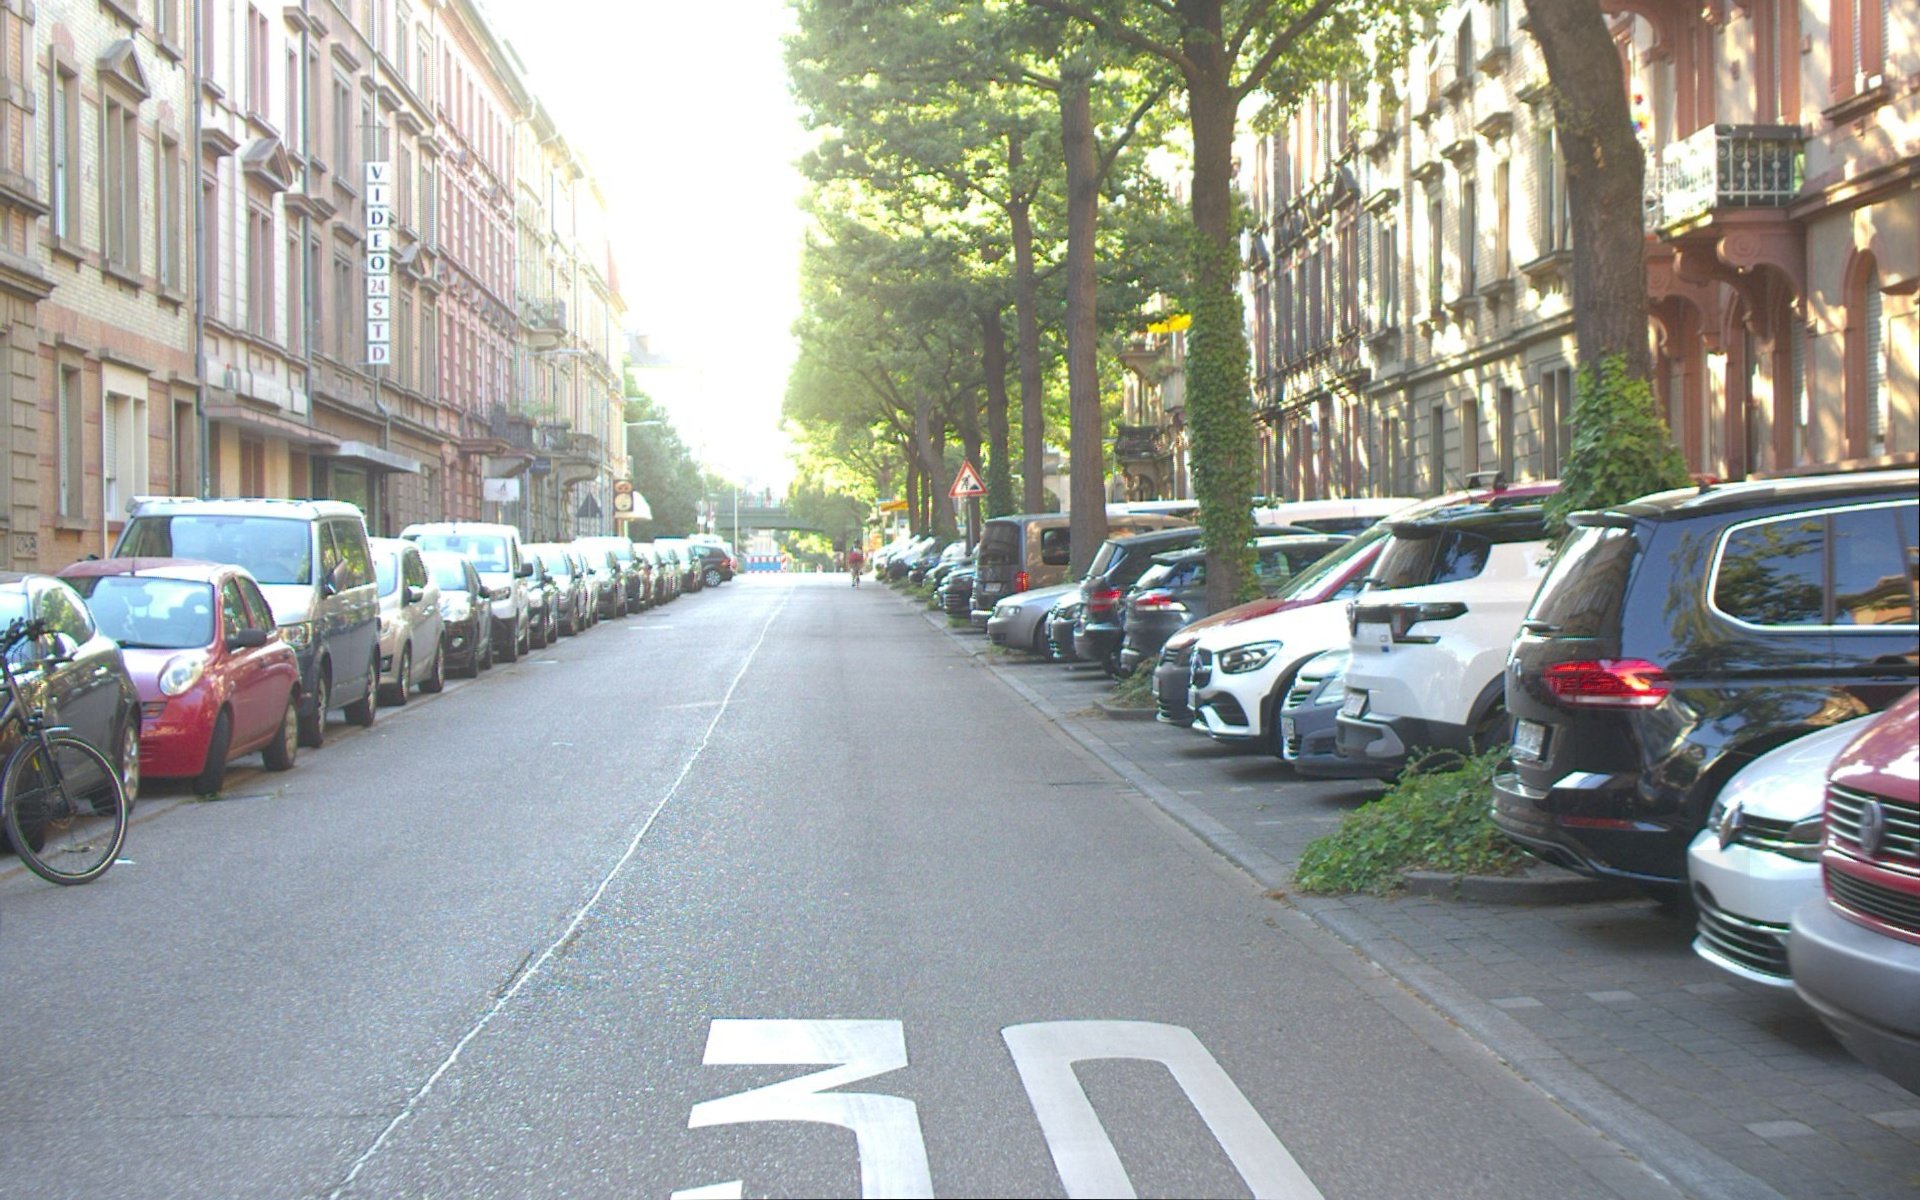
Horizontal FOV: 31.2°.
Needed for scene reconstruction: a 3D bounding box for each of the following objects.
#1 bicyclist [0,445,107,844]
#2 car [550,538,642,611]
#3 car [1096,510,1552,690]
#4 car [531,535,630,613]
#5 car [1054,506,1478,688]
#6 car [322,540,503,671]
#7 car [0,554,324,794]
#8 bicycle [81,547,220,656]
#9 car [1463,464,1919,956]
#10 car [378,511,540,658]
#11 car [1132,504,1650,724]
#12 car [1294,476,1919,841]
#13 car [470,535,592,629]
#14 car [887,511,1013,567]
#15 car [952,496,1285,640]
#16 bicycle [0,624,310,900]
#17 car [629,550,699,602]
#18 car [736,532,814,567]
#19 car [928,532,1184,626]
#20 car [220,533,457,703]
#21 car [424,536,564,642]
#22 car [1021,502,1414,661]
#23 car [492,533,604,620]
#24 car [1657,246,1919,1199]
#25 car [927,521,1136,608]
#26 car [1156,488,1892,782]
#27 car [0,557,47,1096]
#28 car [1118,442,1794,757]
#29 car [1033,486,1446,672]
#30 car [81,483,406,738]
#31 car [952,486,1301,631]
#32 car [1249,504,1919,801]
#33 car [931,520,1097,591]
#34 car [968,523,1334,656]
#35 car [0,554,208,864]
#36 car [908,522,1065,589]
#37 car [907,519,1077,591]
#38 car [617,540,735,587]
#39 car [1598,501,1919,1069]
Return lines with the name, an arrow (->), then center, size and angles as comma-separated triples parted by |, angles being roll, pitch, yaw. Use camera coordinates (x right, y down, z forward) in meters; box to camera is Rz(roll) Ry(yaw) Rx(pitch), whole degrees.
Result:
bicyclist -> -4.716, 0.206, 15.716 | 1.204, 1.783, 0.998 | -3, 2, -42
car -> -7.747, -0.565, 73.367 | 1.758, 1.468, 4.060 | -1, 1, -4
car -> 3.385, -0.011, 32.453 | 4.010, 1.462, 1.734 | -3, 1, -2
car -> -7.540, -0.545, 68.605 | 1.758, 1.468, 4.060 | -1, 1, -4
car -> 3.053, -0.040, 34.848 | 4.010, 1.601, 1.734 | -3, 1, -2
car -> -6.537, 0.030, 41.383 | 1.758, 1.462, 4.001 | 1, 1, -4
car -> -5.477, 0.440, 23.461 | 1.592, 1.470, 3.699 | 1, 1, 0
bicycle -> -10.335, -0.010, 44.051 | 1.041, 1.314, 4.001 | 0, 1, -3
car -> 4.106, 0.296, 12.654 | 4.186, 1.622, 1.837 | -3, 1, 1
car -> -6.701, -0.247, 46.344 | 1.758, 1.835, 4.530 | -1, 1, -4
car -> 3.386, 0.076, 27.388 | 3.657, 1.450, 1.851 | -4, 2, -8
car -> 3.869, 0.240, 17.502 | 4.010, 1.622, 1.805 | -3, 1, -4
car -> -7.140, -0.322, 57.491 | 1.758, 1.468, 4.060 | -1, 1, -4
car -> -0.320, -1.940, 109.331 | 3.850, 1.568, 1.718 | -3, 1, -3
car -> 2.224, -0.462, 48.373 | 4.220, 1.788, 1.835 | -3, 1, -21
bicycle -> -4.545, 0.761, 15.844 | 2.915, 1.154, 0.998 | -3, 2, -42
car -> -9.110, -0.738, 105.990 | 1.993, 1.481, 4.000 | -1, -1, -3
car -> -9.943, -2.724, 185.205 | 3.988, 1.853, 1.751 | 0, 1, 6
car -> 1.507, -0.349, 54.952 | 3.849, 1.289, 1.718 | -3, 1, -5
car -> -6.246, 0.132, 34.961 | 1.753, 1.603, 4.384 | 1, 1, -2
car -> -6.918, -0.200, 51.394 | 1.758, 1.468, 4.060 | -1, 1, -4
car -> 2.989, -0.236, 40.381 | 4.220, 1.605, 1.835 | -3, 1, -9
car -> -7.436, -0.453, 62.352 | 1.758, 1.468, 4.060 | -1, 1, -4
car -> 4.148, 0.210, 7.620 | 4.674, 2.026, 1.879 | -3, 1, -5
car -> 1.373, -0.702, 67.285 | 3.849, 1.474, 1.718 | -3, 1, -5
car -> 3.575, 0.184, 22.320 | 4.343, 1.551, 1.850 | -4, 2, -3
car -> -3.596, 0.687, 7.998 | 1.758, 1.496, 4.060 | -2, 1, 1
car -> 3.522, -0.041, 24.880 | 4.443, 1.917, 1.850 | -4, 2, -4
car -> 3.019, -0.246, 37.675 | 4.220, 1.770, 1.835 | -3, 1, -3
car -> -5.925, 0.033, 29.038 | 1.832, 1.936, 5.261 | 1, 1, -2
car -> 2.485, -0.642, 52.118 | 5.056, 1.918, 1.835 | -3, 1, -2
car -> 3.829, 0.266, 19.955 | 4.010, 1.429, 1.795 | -4, 1, -2
car -> 1.355, -1.128, 86.992 | 3.849, 1.568, 1.718 | -3, 1, -10
car -> 2.338, -0.152, 42.739 | 4.220, 1.398, 1.835 | -3, 1, -7
car -> -5.485, 0.531, 18.907 | 1.758, 1.496, 4.060 | -2, 1, 0
car -> 0.698, -1.195, 91.618 | 3.849, 1.568, 1.718 | -3, 1, -10
car -> 0.770, -1.105, 84.566 | 3.849, 1.568, 1.718 | -3, 1, -10
car -> -9.582, -1.218, 116.206 | 1.997, 1.481, 3.993 | -2, -1, 30
car -> 4.442, 0.387, 10.210 | 4.675, 1.509, 1.879 | -3, 1, 0
